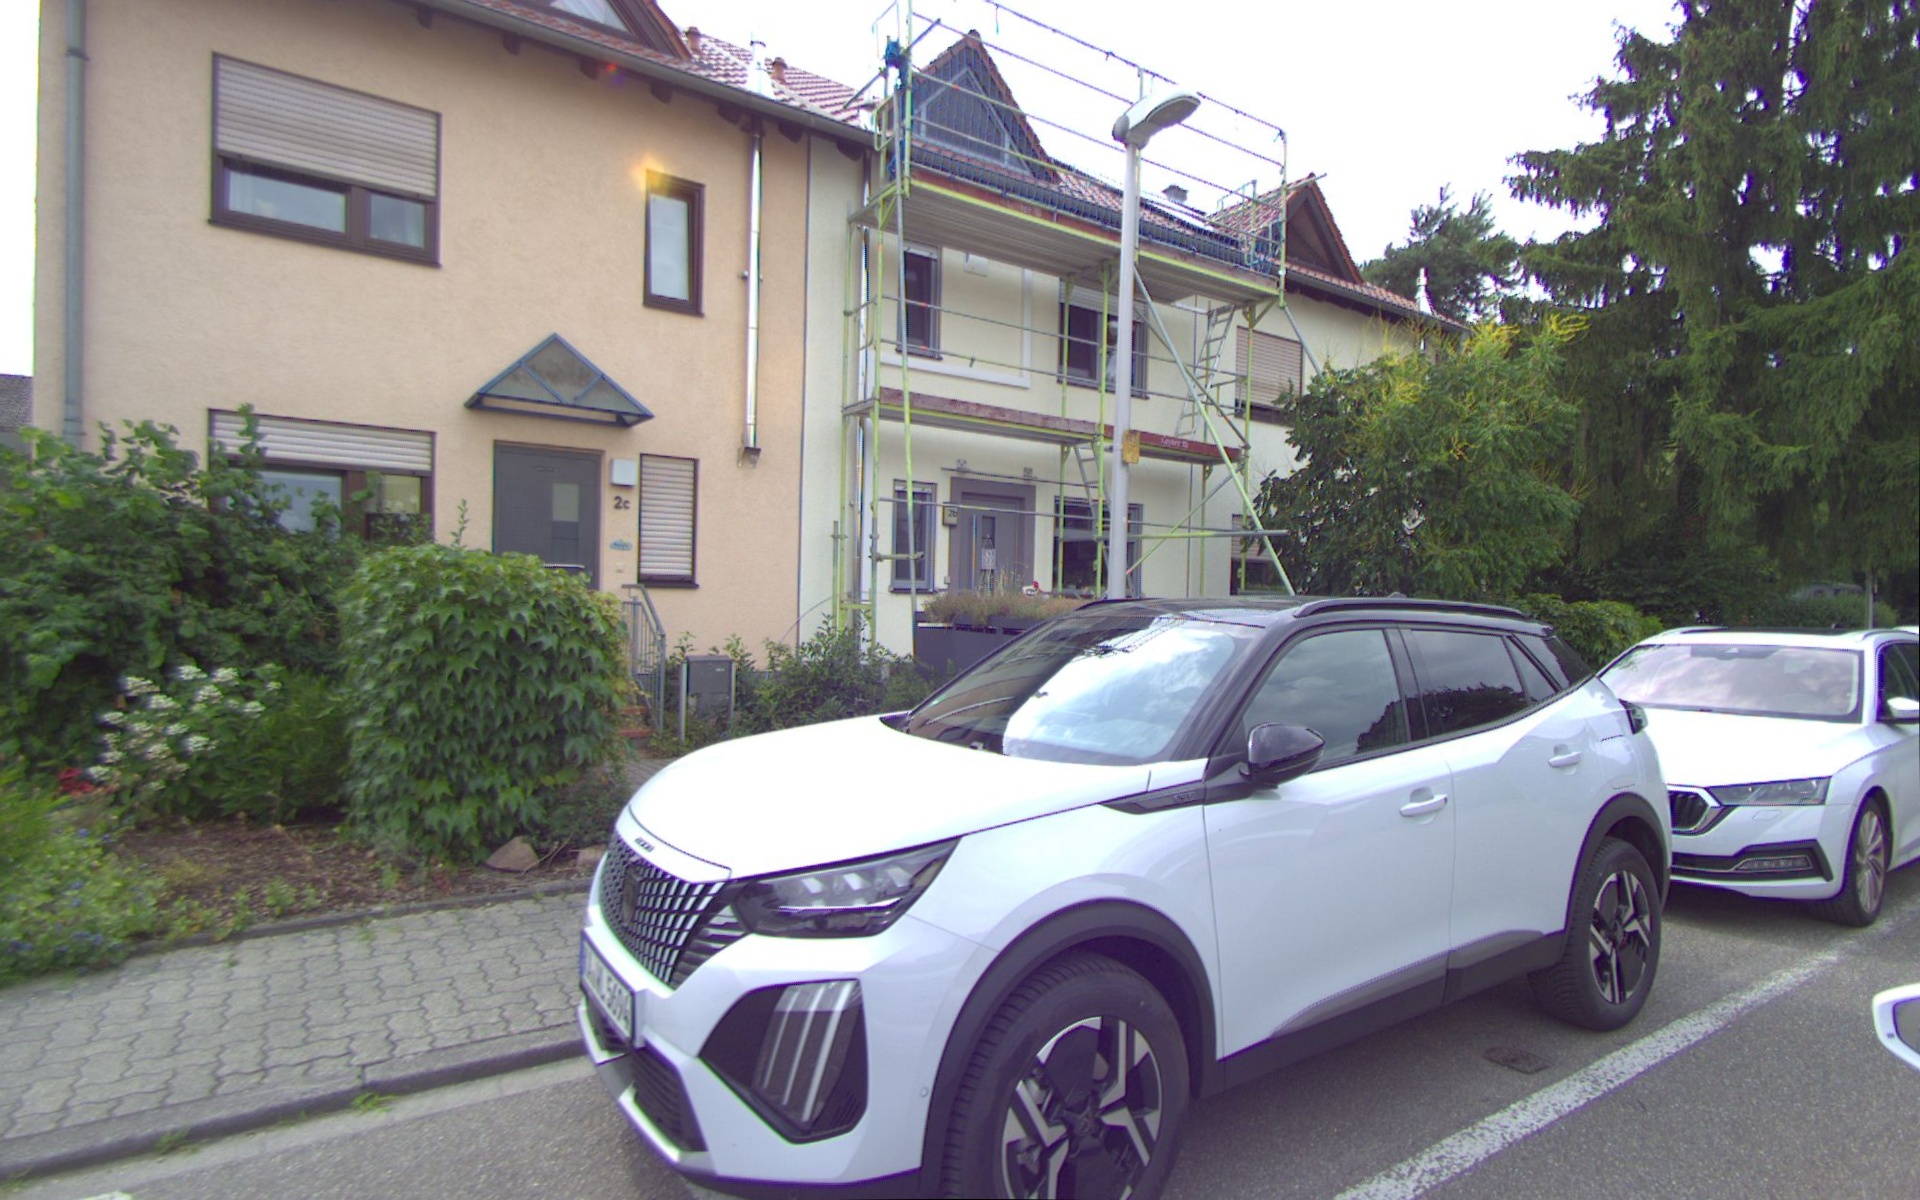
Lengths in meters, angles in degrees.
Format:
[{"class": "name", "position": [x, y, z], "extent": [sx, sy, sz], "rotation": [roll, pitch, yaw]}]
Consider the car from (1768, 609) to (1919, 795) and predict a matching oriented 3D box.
[{"class": "car", "position": [9.663, 0.892, 9.688], "extent": [4.096, 1.551, 1.781], "rotation": [1, 0, -34]}]

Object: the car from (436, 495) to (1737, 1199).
[{"class": "car", "position": [0.770, 0.659, 3.660], "extent": [4.586, 1.577, 1.922], "rotation": [1, 0, -34]}]

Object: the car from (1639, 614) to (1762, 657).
[{"class": "car", "position": [24.924, 1.166, 33.746], "extent": [4.647, 1.308, 1.980], "rotation": [1, 0, -35]}]

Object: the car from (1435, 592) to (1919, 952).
[{"class": "car", "position": [5.274, 0.792, 6.530], "extent": [4.798, 1.583, 1.798], "rotation": [1, 0, -35]}]
